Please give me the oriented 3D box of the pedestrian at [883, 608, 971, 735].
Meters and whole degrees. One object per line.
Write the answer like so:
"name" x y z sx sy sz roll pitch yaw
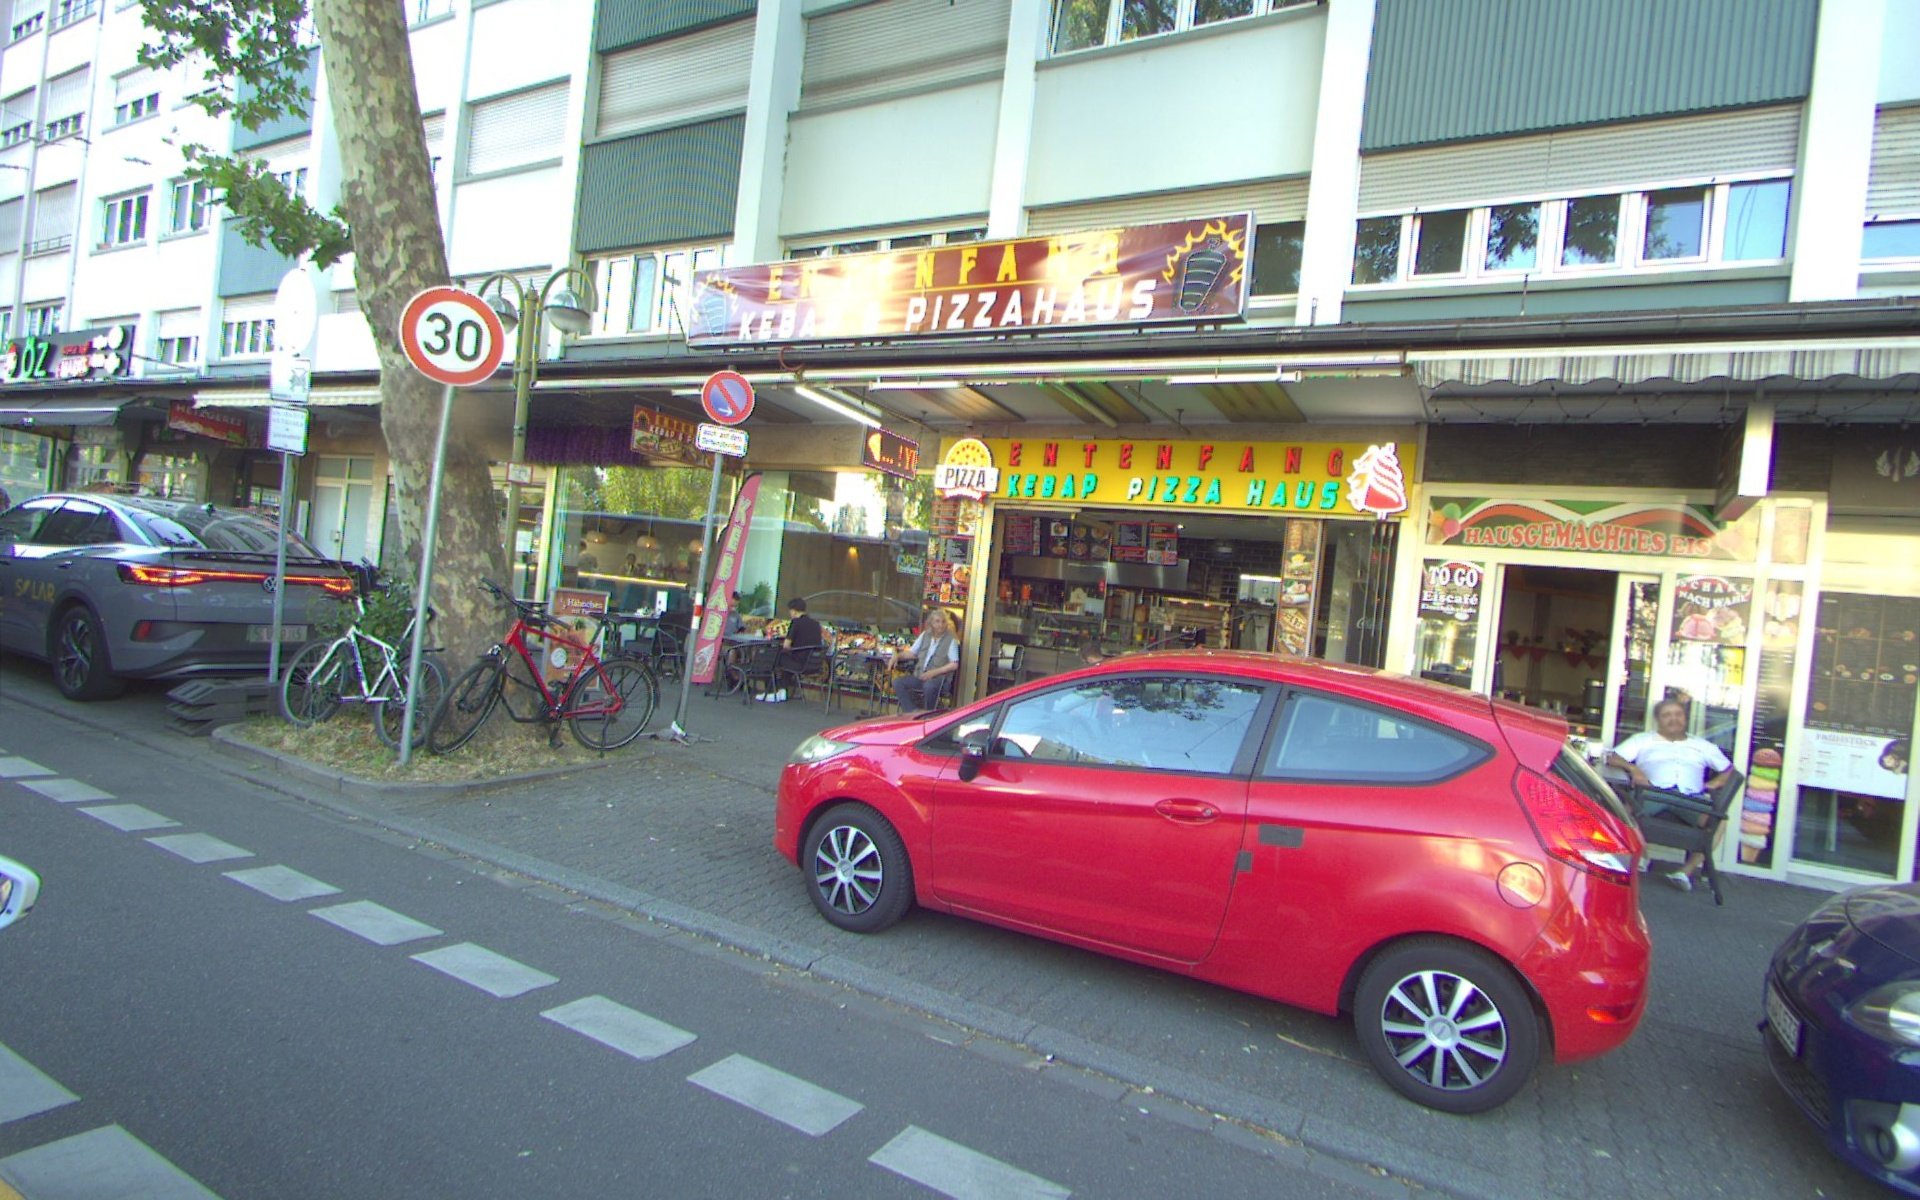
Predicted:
"pedestrian" -0.348 0.753 10.754 0.550 1.252 0.689 7 2 29

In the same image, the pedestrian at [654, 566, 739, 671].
"pedestrian" -3.745 0.257 14.381 0.958 1.350 0.830 6 0 -9

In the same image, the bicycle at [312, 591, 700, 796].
"bicycle" -2.999 0.561 6.909 0.547 1.171 2.377 7 4 44

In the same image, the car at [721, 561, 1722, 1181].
"car" 0.974 0.816 4.728 3.757 1.617 1.782 6 3 28

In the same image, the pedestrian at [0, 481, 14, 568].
"pedestrian" -19.004 -1.501 19.657 0.661 1.688 0.593 4 2 -42

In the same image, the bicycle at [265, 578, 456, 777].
"bicycle" -4.220 0.508 7.048 1.421 1.169 0.553 6 0 36

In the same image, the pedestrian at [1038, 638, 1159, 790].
"pedestrian" 1.263 1.008 9.160 0.798 1.225 0.654 7 2 28

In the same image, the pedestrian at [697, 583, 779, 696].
"pedestrian" -2.669 0.471 12.105 0.680 1.261 0.557 7 2 38

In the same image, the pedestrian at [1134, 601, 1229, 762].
"pedestrian" 2.324 0.848 10.534 0.589 1.566 0.700 7 0 34

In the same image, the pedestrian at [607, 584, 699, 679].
"pedestrian" -3.964 0.402 13.048 0.940 1.094 0.639 7 0 -9

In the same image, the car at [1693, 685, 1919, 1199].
"car" 4.358 1.260 2.677 3.549 1.488 1.767 6 3 29

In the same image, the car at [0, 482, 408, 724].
"car" -7.321 -0.105 9.057 4.292 1.603 1.996 7 2 27

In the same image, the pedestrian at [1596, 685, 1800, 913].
"pedestrian" 5.206 1.342 7.195 0.937 1.352 1.069 7 0 30

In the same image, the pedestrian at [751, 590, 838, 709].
"pedestrian" -1.889 0.558 11.497 0.679 1.261 0.558 7 2 33

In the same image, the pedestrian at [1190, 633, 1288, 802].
"pedestrian" 2.794 1.158 10.052 0.589 1.560 0.700 7 0 34
